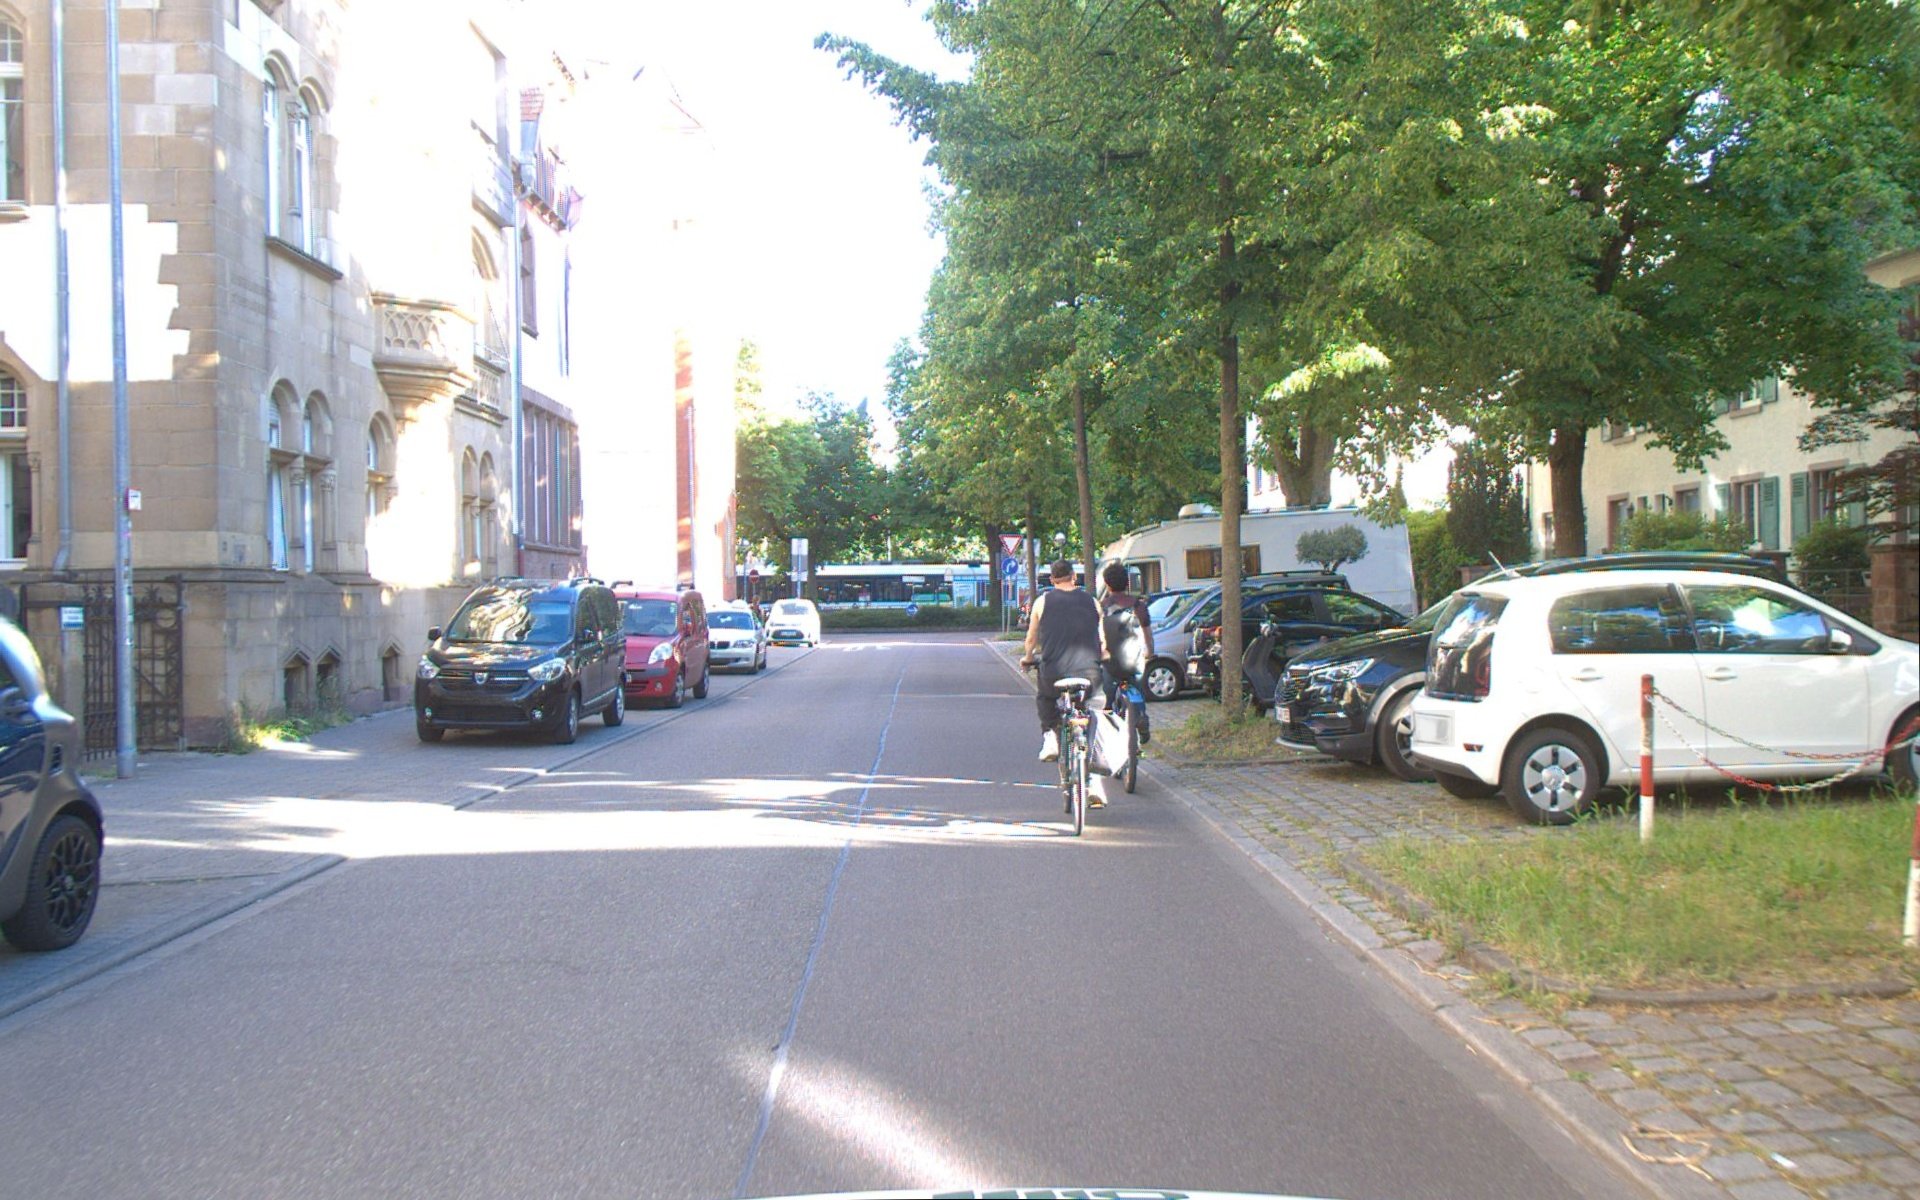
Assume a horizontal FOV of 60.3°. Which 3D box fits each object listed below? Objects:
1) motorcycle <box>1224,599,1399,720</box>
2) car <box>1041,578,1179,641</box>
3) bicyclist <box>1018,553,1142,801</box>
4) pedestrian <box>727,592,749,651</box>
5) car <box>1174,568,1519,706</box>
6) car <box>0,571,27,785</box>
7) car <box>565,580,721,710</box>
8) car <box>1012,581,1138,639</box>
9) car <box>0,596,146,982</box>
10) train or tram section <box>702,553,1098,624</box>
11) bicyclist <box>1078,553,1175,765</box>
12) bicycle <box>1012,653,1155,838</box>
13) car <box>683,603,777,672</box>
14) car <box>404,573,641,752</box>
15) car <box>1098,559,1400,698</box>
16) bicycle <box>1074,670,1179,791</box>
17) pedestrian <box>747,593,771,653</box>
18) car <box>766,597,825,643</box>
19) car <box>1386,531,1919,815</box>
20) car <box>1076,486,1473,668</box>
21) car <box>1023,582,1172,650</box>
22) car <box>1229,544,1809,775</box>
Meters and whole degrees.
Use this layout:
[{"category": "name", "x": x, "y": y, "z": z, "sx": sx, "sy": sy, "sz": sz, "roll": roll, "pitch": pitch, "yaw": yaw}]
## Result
[{"category": "motorcycle", "x": 3.542, "y": 0.590, "z": 16.700, "sx": 1.574, "sy": 1.161, "sz": 0.671, "roll": -1, "pitch": 0, "yaw": 32}, {"category": "car", "x": 4.493, "y": 0.296, "z": 49.819, "sx": 3.908, "sy": 1.835, "sz": 1.833, "roll": 0, "pitch": -1, "yaw": -4}, {"category": "bicyclist", "x": 0.783, "y": 0.496, "z": 11.016, "sx": 0.715, "sy": 1.575, "sz": 0.884, "roll": 1, "pitch": -1, "yaw": -2}, {"category": "pedestrian", "x": -6.741, "y": 0.651, "z": 50.153, "sx": 0.596, "sy": 1.793, "sz": 0.432, "roll": 0, "pitch": -1, "yaw": -1}, {"category": "car", "x": 4.998, "y": 0.486, "z": 21.715, "sx": 4.057, "sy": 1.628, "sz": 1.701, "roll": -1, "pitch": -2, "yaw": -4}, {"category": "car", "x": -9.659, "y": 0.630, "z": 12.567, "sx": 4.114, "sy": 1.697, "sz": 1.718, "roll": 0, "pitch": 0, "yaw": -3}, {"category": "car", "x": -4.920, "y": 0.632, "z": 26.204, "sx": 1.654, "sy": 1.857, "sz": 4.272, "roll": 1, "pitch": 1, "yaw": -1}, {"category": "car", "x": 3.716, "y": 0.331, "z": 53.934, "sx": 3.908, "sy": 1.835, "sz": 1.833, "roll": 0, "pitch": -1, "yaw": -4}, {"category": "car", "x": -4.607, "y": 0.749, "z": 6.418, "sx": 1.564, "sy": 1.515, "sz": 2.735, "roll": 3, "pitch": 0, "yaw": -3}, {"category": "train or tram section", "x": -3.192, "y": -0.551, "z": 97.290, "sx": 23.487, "sy": 3.773, "sz": 4.254, "roll": 1, "pitch": -1, "yaw": -24}, {"category": "bicyclist", "x": 1.339, "y": 0.463, "z": 13.424, "sx": 0.675, "sy": 1.655, "sz": 0.998, "roll": 0, "pitch": 0, "yaw": -1}, {"category": "bicycle", "x": 0.778, "y": 0.910, "z": 10.973, "sx": 0.722, "sy": 1.072, "sz": 1.955, "roll": 1, "pitch": -1, "yaw": -2}, {"category": "car", "x": -5.096, "y": 0.799, "z": 37.090, "sx": 1.551, "sy": 1.367, "sz": 4.131, "roll": 1, "pitch": 1, "yaw": -1}, {"category": "car", "x": -4.945, "y": 0.624, "z": 19.301, "sx": 1.607, "sy": 1.814, "sz": 4.354, "roll": 1, "pitch": 1, "yaw": -1}, {"category": "car", "x": 4.165, "y": 0.401, "z": 24.206, "sx": 4.002, "sy": 1.678, "sz": 1.640, "roll": -4, "pitch": 0, "yaw": -3}, {"category": "bicycle", "x": 1.325, "y": 1.033, "z": 13.479, "sx": 0.620, "sy": 0.813, "sz": 1.832, "roll": -1, "pitch": 0, "yaw": -1}, {"category": "pedestrian", "x": -5.704, "y": 0.651, "z": 46.942, "sx": 0.596, "sy": 1.708, "sz": 0.518, "roll": 0, "pitch": -1, "yaw": -1}, {"category": "car", "x": -5.405, "y": 0.645, "z": 54.736, "sx": 1.551, "sy": 1.399, "sz": 4.131, "roll": 1, "pitch": 1, "yaw": -1}, {"category": "car", "x": 4.849, "y": 0.426, "z": 10.760, "sx": 3.695, "sy": 1.627, "sz": 1.691, "roll": -2, "pitch": 0, "yaw": 0}, {"category": "car", "x": 5.923, "y": -0.433, "z": 31.806, "sx": 7.006, "sy": 3.030, "sz": 2.462, "roll": -3, "pitch": 0, "yaw": -4}, {"category": "car", "x": 3.795, "y": 0.454, "z": 46.048, "sx": 3.908, "sy": 1.835, "sz": 1.833, "roll": 0, "pitch": -1, "yaw": -4}, {"category": "car", "x": 4.345, "y": 0.471, "z": 13.320, "sx": 4.054, "sy": 1.628, "sz": 1.702, "roll": -2, "pitch": -2, "yaw": 0}]
